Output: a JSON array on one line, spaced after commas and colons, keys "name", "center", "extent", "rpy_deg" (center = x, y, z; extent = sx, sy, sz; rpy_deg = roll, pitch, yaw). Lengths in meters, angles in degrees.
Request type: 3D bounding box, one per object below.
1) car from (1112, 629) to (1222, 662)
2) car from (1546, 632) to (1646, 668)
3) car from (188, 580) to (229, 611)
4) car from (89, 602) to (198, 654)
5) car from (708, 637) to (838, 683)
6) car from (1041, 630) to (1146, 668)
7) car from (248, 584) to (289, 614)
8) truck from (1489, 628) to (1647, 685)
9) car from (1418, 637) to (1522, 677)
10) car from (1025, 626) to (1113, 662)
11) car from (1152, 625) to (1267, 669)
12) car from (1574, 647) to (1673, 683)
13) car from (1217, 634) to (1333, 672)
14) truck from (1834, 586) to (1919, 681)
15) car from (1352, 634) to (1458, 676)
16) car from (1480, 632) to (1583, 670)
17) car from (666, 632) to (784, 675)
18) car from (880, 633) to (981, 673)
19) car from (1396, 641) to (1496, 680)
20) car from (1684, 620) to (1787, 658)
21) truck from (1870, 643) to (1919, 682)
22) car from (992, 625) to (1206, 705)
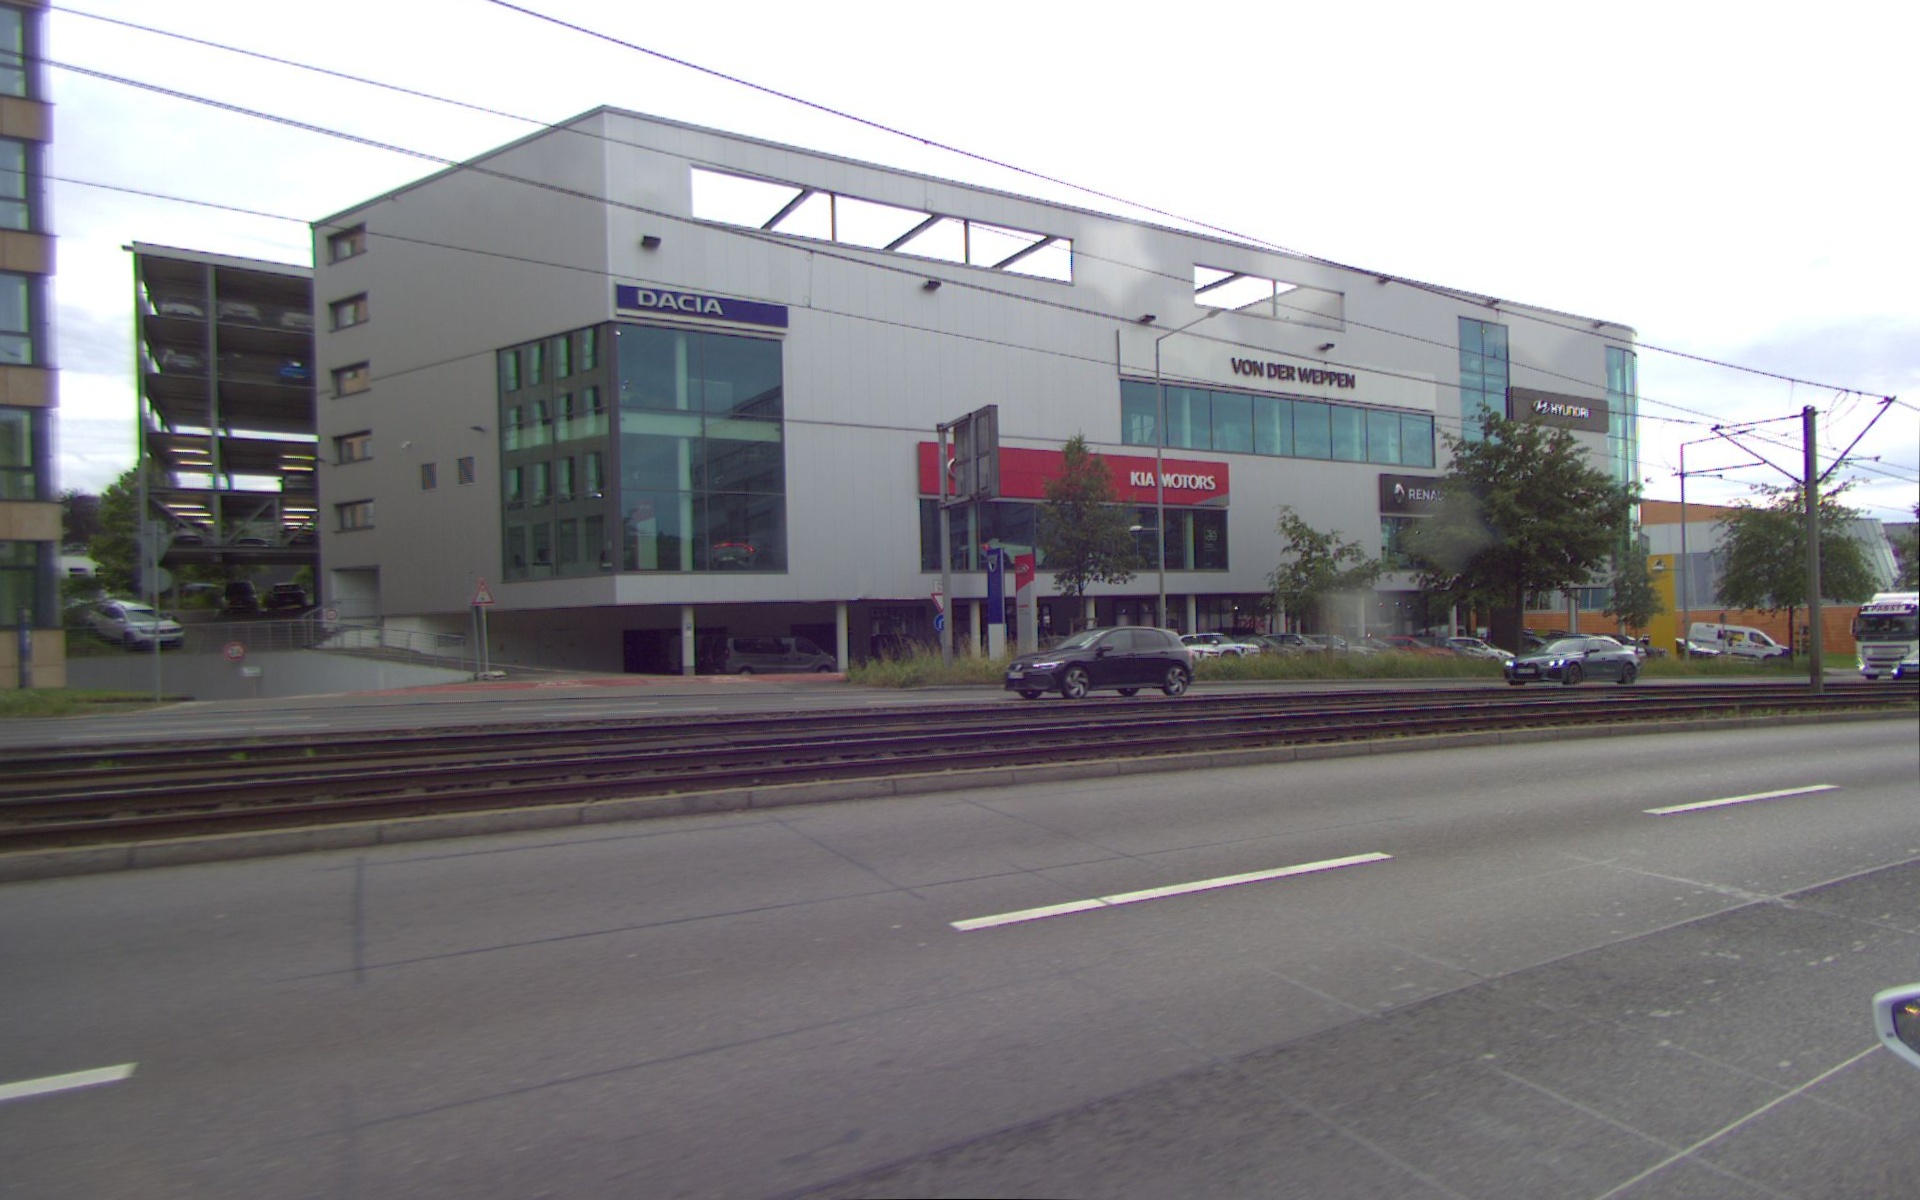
[{"name": "car", "center": [8.826, 1.932, 42.975], "extent": [4.275, 1.324, 1.862], "rpy_deg": [-1, -3, 43]}, {"name": "car", "center": [37.335, 2.913, 59.064], "extent": [1.998, 2.002, 4.575], "rpy_deg": [2, -2, -33]}, {"name": "car", "center": [-47.025, -0.241, 62.873], "extent": [1.898, 1.708, 3.849], "rpy_deg": [5, -4, -37]}, {"name": "car", "center": [-33.610, 1.162, 41.350], "extent": [3.925, 1.918, 1.882], "rpy_deg": [1, -3, 26]}, {"name": "car", "center": [-7.654, 2.428, 41.330], "extent": [4.884, 1.748, 1.983], "rpy_deg": [1, -1, -31]}, {"name": "car", "center": [6.362, 2.303, 47.835], "extent": [4.551, 1.686, 2.018], "rpy_deg": [0, -2, 27]}, {"name": "car", "center": [-44.133, -0.043, 64.083], "extent": [1.898, 1.708, 3.958], "rpy_deg": [5, -4, -37]}, {"name": "truck", "center": [18.000, 1.705, 29.713], "extent": [4.535, 1.588, 1.935], "rpy_deg": [2, -4, -28]}, {"name": "car", "center": [27.160, 3.006, 53.618], "extent": [2.003, 2.002, 4.565], "rpy_deg": [2, -2, -39]}, {"name": "car", "center": [6.223, 2.478, 57.245], "extent": [4.793, 1.936, 1.982], "rpy_deg": [1, -1, -33]}, {"name": "car", "center": [10.992, 2.037, 44.423], "extent": [4.573, 1.851, 2.009], "rpy_deg": [-1, -3, 43]}, {"name": "car", "center": [39.898, 3.864, 60.503], "extent": [1.998, 2.002, 4.575], "rpy_deg": [2, -2, -33]}, {"name": "car", "center": [14.955, 2.493, 47.849], "extent": [4.949, 1.675, 2.009], "rpy_deg": [-1, -3, 43]}, {"name": "truck", "center": [49.874, 1.617, 50.472], "extent": [16.982, 4.236, 3.030], "rpy_deg": [1, 0, -28]}, {"name": "car", "center": [22.669, 2.767, 51.281], "extent": [4.552, 2.002, 2.009], "rpy_deg": [-1, -3, 43]}, {"name": "car", "center": [31.702, 2.809, 55.857], "extent": [1.998, 2.002, 4.575], "rpy_deg": [2, -2, -33]}, {"name": "car", "center": [-10.707, 2.394, 45.857], "extent": [4.887, 1.815, 1.982], "rpy_deg": [1, -1, -33]}, {"name": "car", "center": [-1.503, 2.693, 52.129], "extent": [4.887, 1.936, 1.982], "rpy_deg": [1, -1, -33]}, {"name": "car", "center": [25.145, 3.082, 52.099], "extent": [1.870, 1.889, 4.304], "rpy_deg": [2, -2, -42]}, {"name": "car", "center": [52.448, 2.638, 68.001], "extent": [2.007, 2.343, 5.251], "rpy_deg": [3, -1, -44]}, {"name": "truck", "center": [40.617, 2.640, 42.140], "extent": [4.481, 1.588, 1.937], "rpy_deg": [2, -4, -24]}, {"name": "car", "center": [2.880, 1.311, 20.622], "extent": [4.187, 1.481, 1.660], "rpy_deg": [2, -1, -29]}]
